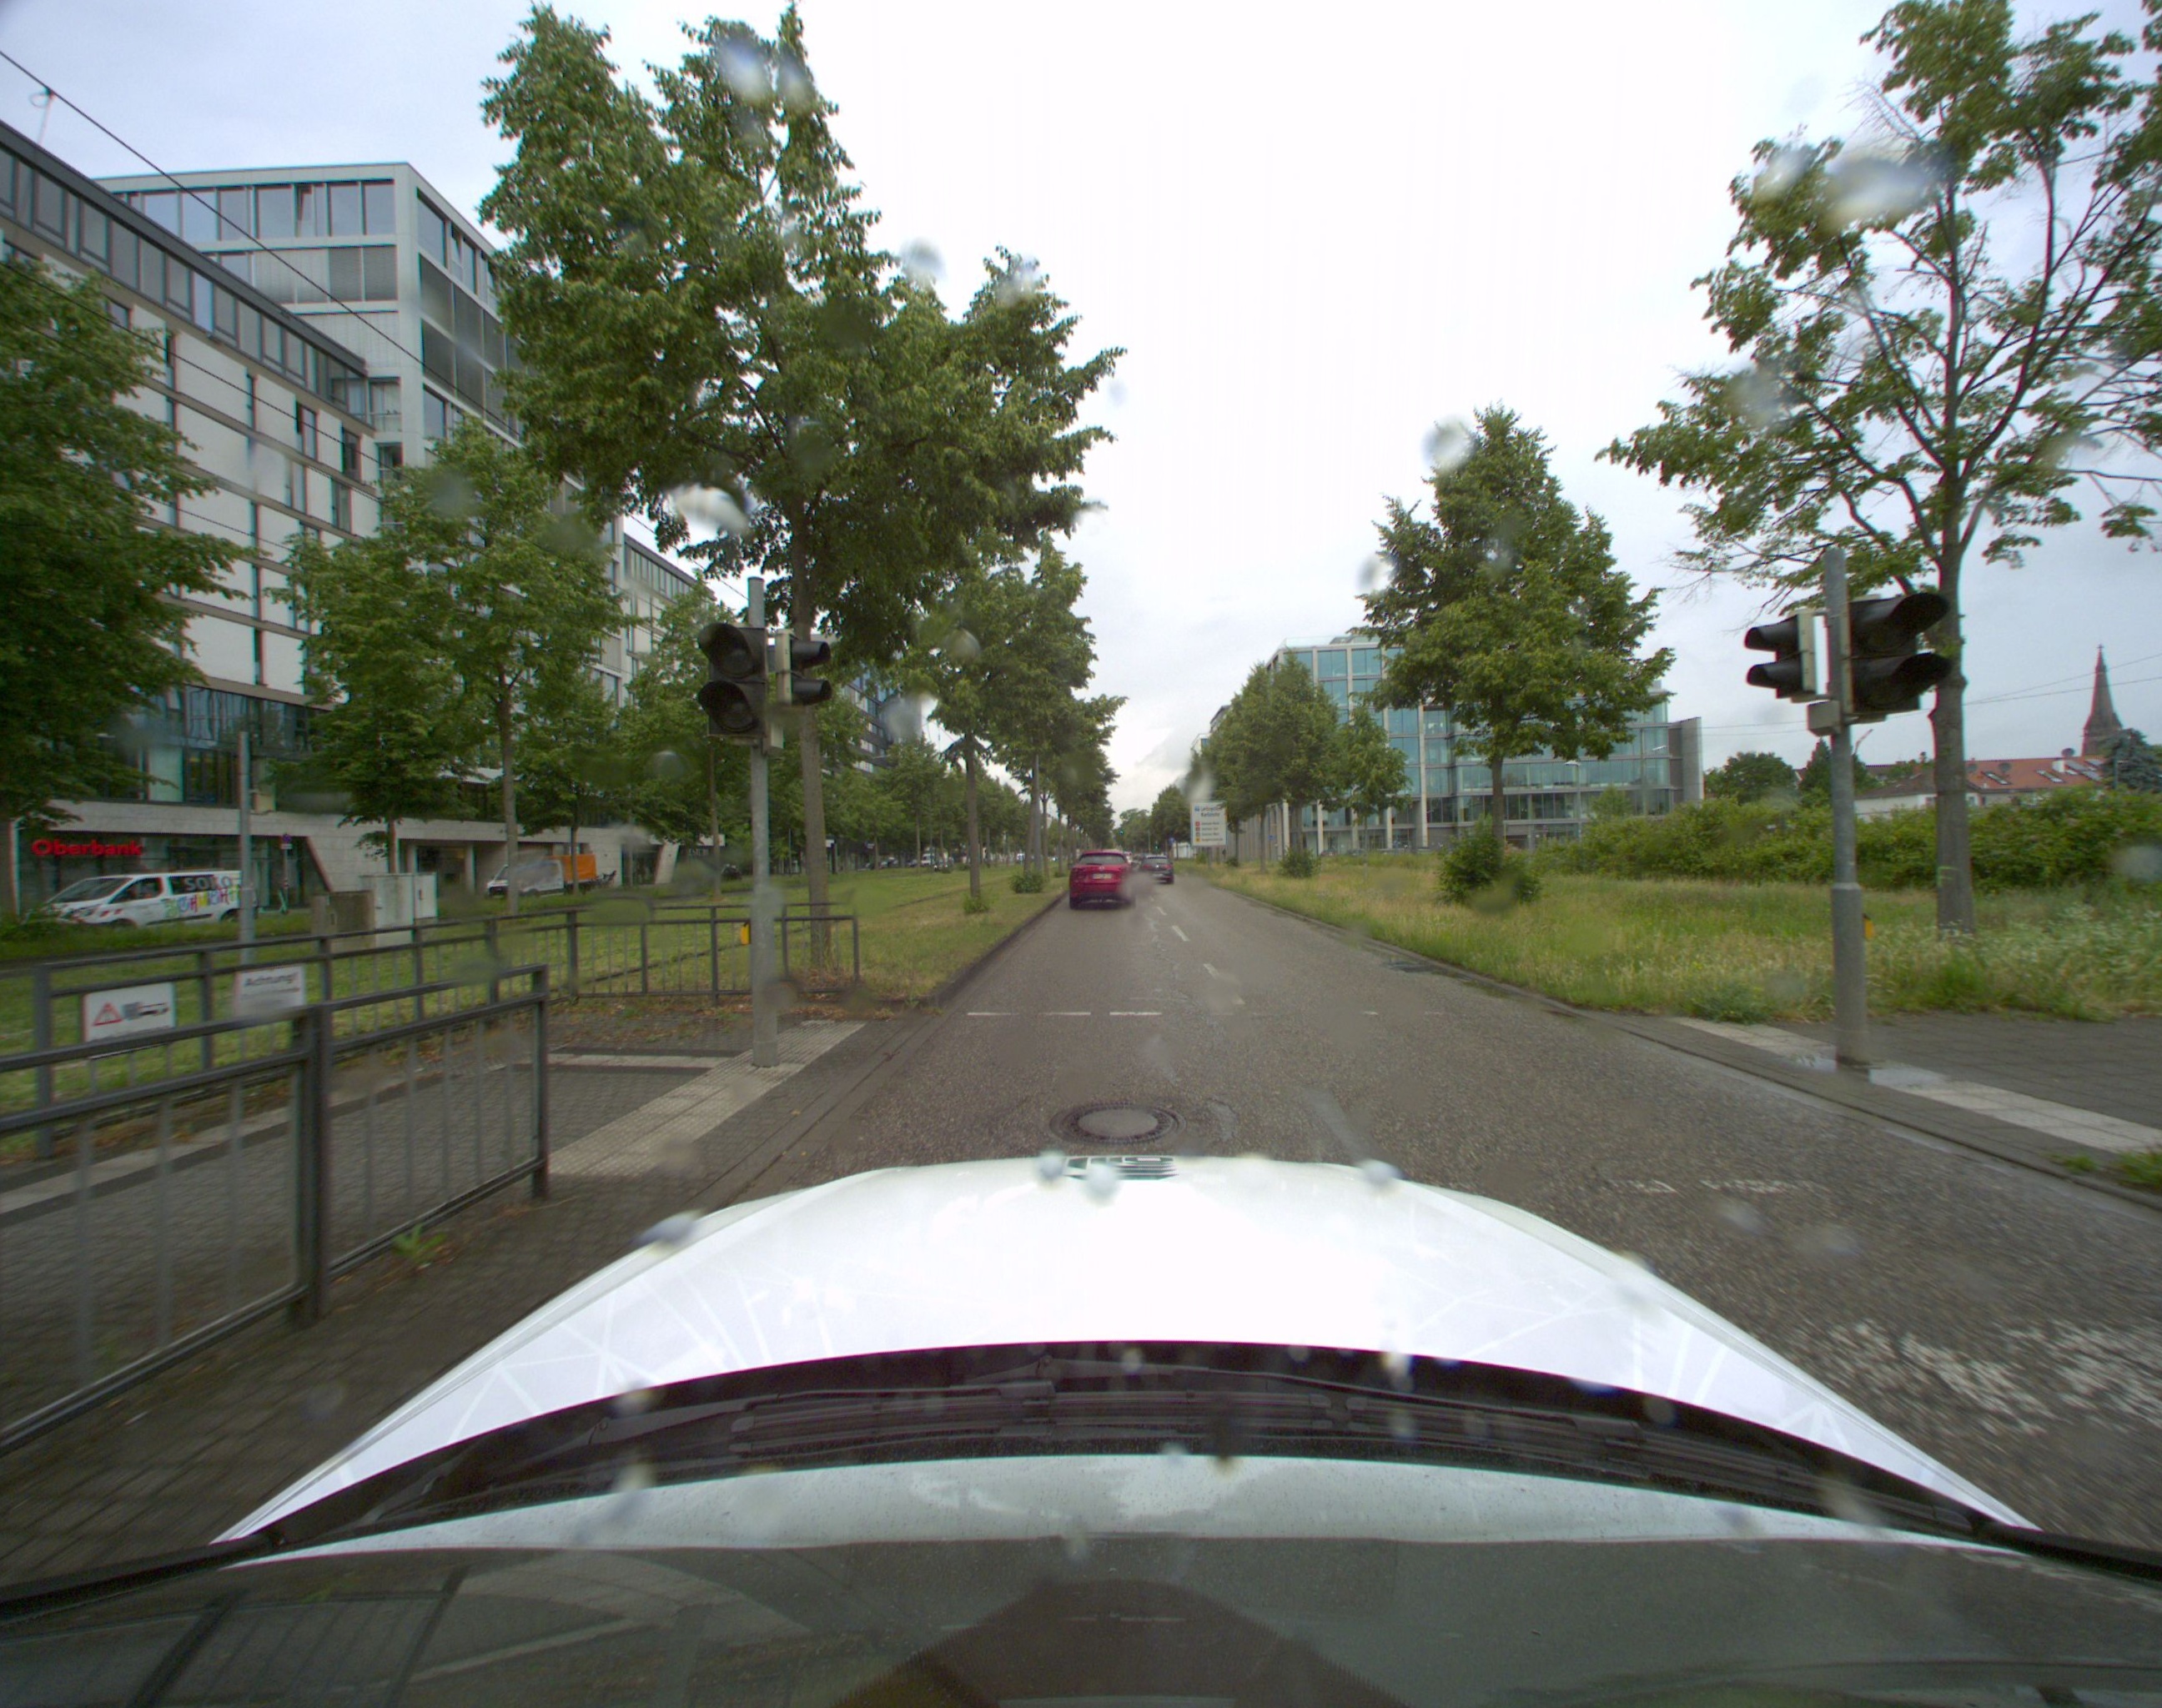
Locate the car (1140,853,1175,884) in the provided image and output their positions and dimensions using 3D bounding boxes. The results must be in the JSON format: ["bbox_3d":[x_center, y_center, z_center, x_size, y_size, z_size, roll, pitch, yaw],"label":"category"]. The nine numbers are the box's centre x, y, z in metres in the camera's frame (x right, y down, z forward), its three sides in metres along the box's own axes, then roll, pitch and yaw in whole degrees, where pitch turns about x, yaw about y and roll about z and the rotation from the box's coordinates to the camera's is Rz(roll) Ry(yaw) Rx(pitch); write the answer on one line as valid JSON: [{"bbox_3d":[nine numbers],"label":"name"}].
[{"bbox_3d":[3.976,0.705,42.118,1.735,1.465,3.788,-1,0,6],"label":"car"}]

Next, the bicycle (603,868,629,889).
[{"bbox_3d":[-35.546,1.869,62.261,1.562,1.538,0.607,-1,0,1],"label":"bicycle"}]

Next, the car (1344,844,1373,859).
[{"bbox_3d":[27.424,-0.242,80.680,1.845,1.454,4.567,-1,0,7],"label":"car"}]

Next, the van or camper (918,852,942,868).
[{"bbox_3d":[-23.570,0.943,127.600,2.423,2.315,5.853,-1,0,2],"label":"van or camper"}]

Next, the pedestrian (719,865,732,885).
[{"bbox_3d":[-34.910,2.047,79.990,0.789,1.981,0.858,-1,0,10],"label":"pedestrian"}]

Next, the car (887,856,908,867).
[{"bbox_3d":[-24.224,0.972,107.572,1.695,1.449,4.243,-1,0,2],"label":"car"}]

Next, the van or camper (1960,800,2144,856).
[{"bbox_3d":[57.039,-1.414,48.150,2.895,2.994,6.781,-1,0,2],"label":"van or camper"}]

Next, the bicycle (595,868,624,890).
[{"bbox_3d":[-35.326,1.870,61.043,1.697,1.538,0.681,-1,0,1],"label":"bicycle"}]

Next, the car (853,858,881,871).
[{"bbox_3d":[-24.818,1.224,94.622,1.986,1.378,4.002,-1,0,2],"label":"car"}]

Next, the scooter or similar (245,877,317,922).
[{"bbox_3d":[-34.217,1.951,34.860,2.119,1.825,0.884,-1,0,-2],"label":"scooter or similar"}]

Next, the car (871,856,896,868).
[{"bbox_3d":[-24.454,0.987,100.988,1.986,1.378,4.002,-1,0,2],"label":"car"}]

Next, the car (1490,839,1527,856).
[{"bbox_3d":[41.146,-0.614,78.430,1.845,1.601,4.008,-1,0,7],"label":"car"}]

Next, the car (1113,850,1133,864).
[{"bbox_3d":[4.401,0.320,85.449,1.960,1.437,4.553,-1,0,1],"label":"car"}]

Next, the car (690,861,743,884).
[{"bbox_3d":[-26.037,1.300,58.274,1.848,1.465,3.990,-2,0,2],"label":"car"}]

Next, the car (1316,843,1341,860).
[{"bbox_3d":[24.687,-0.247,81.306,1.844,1.580,4.011,-1,0,9],"label":"car"}]

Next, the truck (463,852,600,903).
[{"bbox_3d":[-27.524,1.097,41.163,2.417,2.291,6.312,-1,0,2],"label":"truck"}]

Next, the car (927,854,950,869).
[{"bbox_3d":[-16.962,0.870,97.034,1.985,1.656,3.702,-2,0,2],"label":"car"}]

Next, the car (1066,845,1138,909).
[{"bbox_3d":[0.609,0.609,23.767,1.891,1.677,4.001,-1,0,1],"label":"car"}]

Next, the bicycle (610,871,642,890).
[{"bbox_3d":[-25.039,1.460,44.841,0.596,0.945,1.760,-2,0,6],"label":"bicycle"}]

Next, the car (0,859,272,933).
[{"bbox_3d":[-27.679,1.138,24.195,1.986,1.852,5.166,-1,0,2],"label":"car"}]
